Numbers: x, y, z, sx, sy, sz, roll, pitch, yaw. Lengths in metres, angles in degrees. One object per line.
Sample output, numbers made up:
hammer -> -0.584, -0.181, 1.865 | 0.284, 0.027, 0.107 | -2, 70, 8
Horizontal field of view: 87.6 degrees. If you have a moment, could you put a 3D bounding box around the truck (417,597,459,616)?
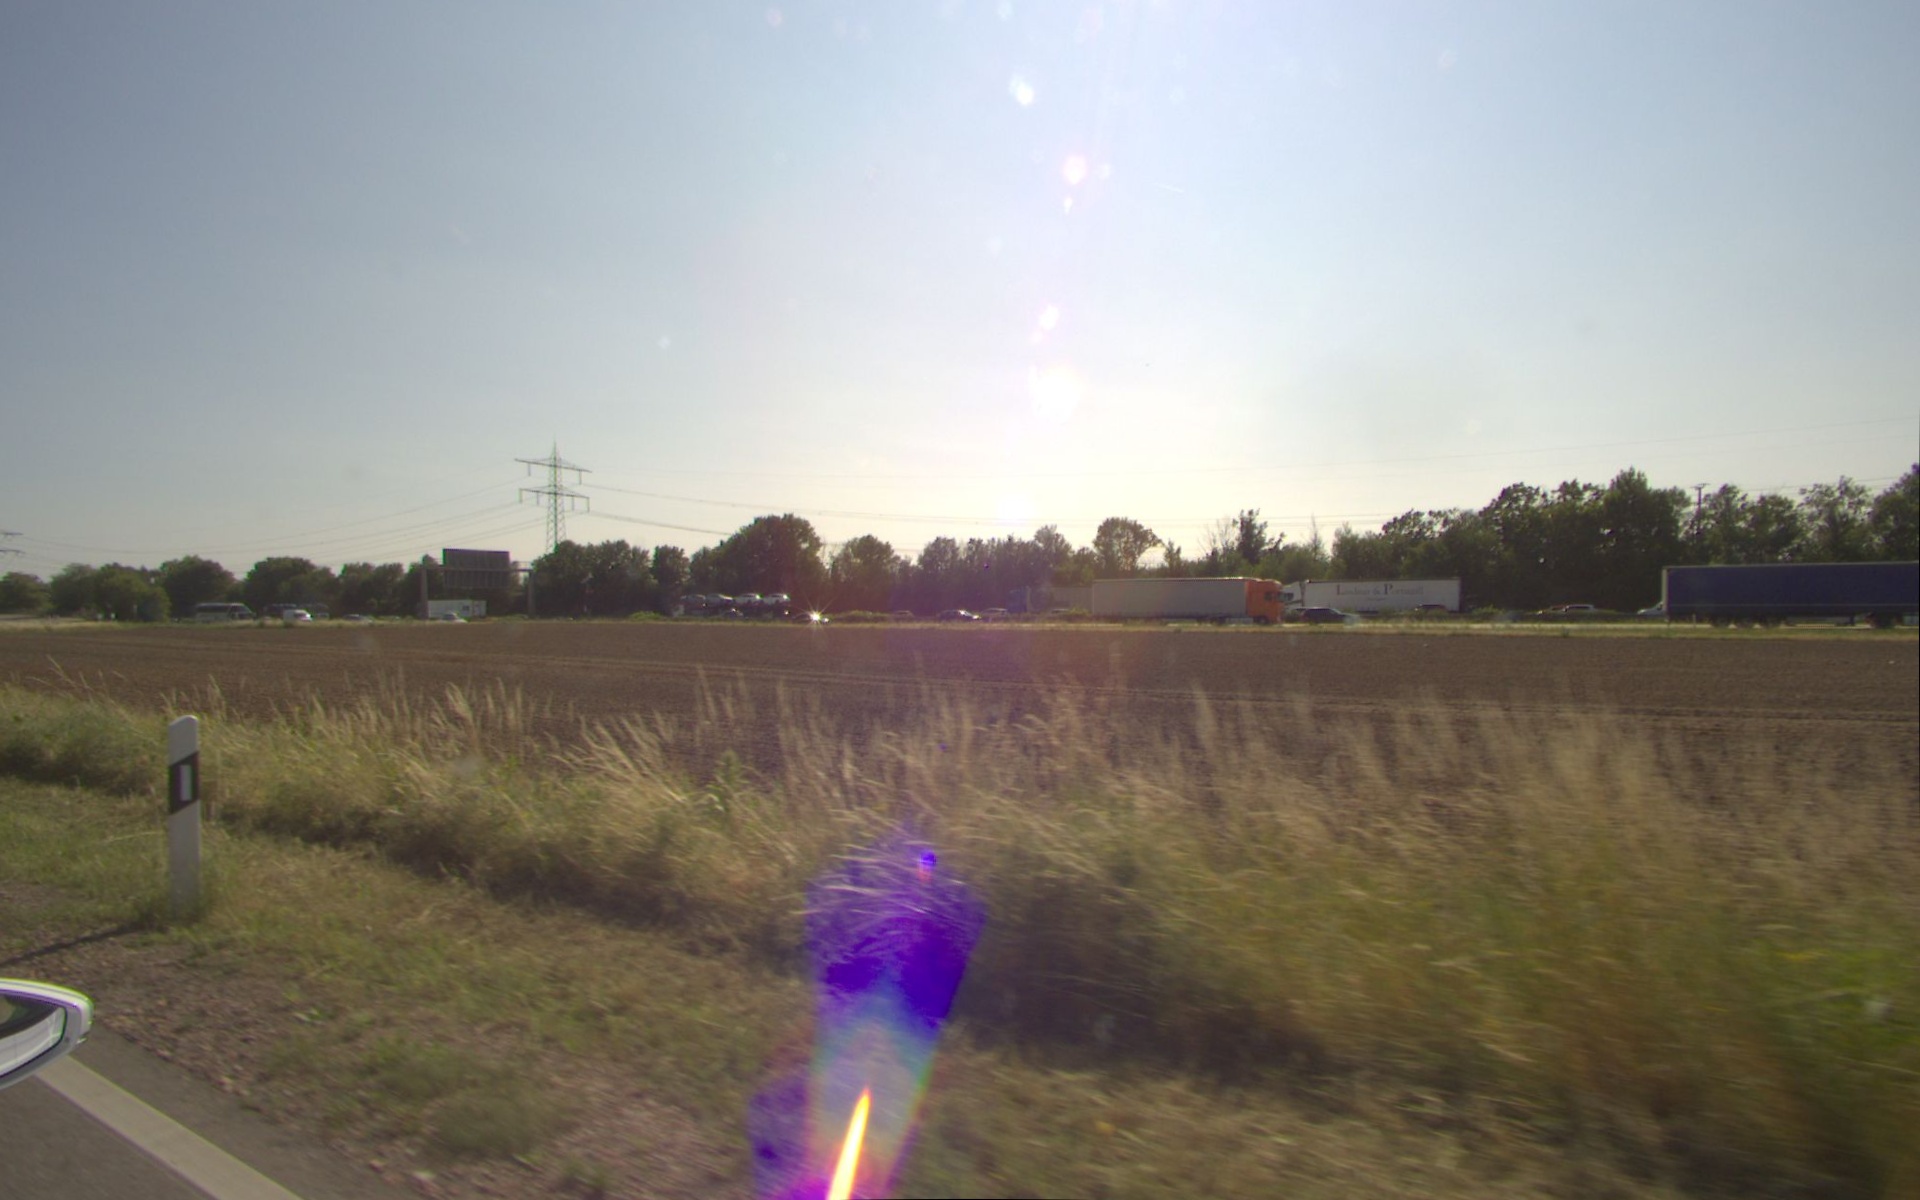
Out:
truck -> -90.602, 1.149, 173.755 | 6.875, 3.310, 3.279 | -1, 0, 30

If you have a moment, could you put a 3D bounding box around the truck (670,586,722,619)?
truck -> -37.205, 0.357, 141.237 | 6.605, 4.512, 3.416 | -1, 0, 30

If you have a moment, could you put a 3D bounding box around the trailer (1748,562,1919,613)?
trailer -> 68.791, -0.883, 76.207 | 13.582, 3.782, 2.940 | 0, 0, 32

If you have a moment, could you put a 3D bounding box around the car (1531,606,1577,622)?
car -> 48.692, 1.168, 82.131 | 3.242, 1.300, 1.339 | -1, -2, 30

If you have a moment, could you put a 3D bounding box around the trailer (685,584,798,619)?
trailer -> -30.117, 0.255, 137.174 | 17.300, 4.512, 3.416 | -1, 0, 30

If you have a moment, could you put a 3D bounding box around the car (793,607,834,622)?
car -> -15.585, 1.569, 106.559 | 4.136, 1.563, 1.700 | -1, -2, 32

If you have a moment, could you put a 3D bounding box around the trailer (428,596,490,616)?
trailer -> -85.477, 1.077, 170.754 | 12.272, 3.310, 3.279 | -1, 0, 31

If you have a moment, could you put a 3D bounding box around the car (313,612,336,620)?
car -> -114.106, 2.925, 179.883 | 4.185, 1.403, 1.848 | 0, -1, 31

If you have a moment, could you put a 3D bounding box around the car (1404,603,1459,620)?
car -> 40.891, 0.982, 86.919 | 4.185, 1.403, 1.848 | 0, -1, 31

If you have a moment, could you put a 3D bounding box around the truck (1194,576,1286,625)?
truck -> 23.322, 0.064, 83.352 | 6.848, 3.899, 3.099 | 0, -1, 31

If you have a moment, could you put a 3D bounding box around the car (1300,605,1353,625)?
car -> 30.436, 1.241, 83.105 | 3.838, 1.595, 1.991 | -1, -2, 32

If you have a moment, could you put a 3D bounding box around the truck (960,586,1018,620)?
truck -> 3.400, 0.342, 116.158 | 6.000, 3.783, 3.065 | 1, 0, 33

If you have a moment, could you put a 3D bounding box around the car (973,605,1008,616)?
car -> 3.271, 1.127, 108.083 | 3.530, 1.166, 1.392 | 0, -1, 32

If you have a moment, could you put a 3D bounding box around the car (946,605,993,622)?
car -> 0.942, 1.363, 101.328 | 4.411, 1.633, 1.902 | -1, -2, 33

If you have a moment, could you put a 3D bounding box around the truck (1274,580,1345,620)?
truck -> 33.995, 0.037, 97.550 | 6.030, 3.782, 3.066 | 0, 0, 33

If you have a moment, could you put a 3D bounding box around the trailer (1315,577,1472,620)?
trailer -> 40.301, -0.037, 93.475 | 13.176, 3.782, 3.065 | -1, 0, 33

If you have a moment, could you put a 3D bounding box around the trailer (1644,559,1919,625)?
trailer -> 52.870, -0.388, 64.397 | 14.376, 3.851, 3.068 | -1, -1, 30

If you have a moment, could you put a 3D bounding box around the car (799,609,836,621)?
car -> -17.202, 1.771, 121.009 | 4.185, 1.403, 1.848 | 0, -1, 31

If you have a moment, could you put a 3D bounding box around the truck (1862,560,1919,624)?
truck -> 58.889, -0.466, 60.836 | 5.528, 3.851, 3.068 | -1, -1, 30

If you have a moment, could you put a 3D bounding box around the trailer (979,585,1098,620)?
trailer -> 8.702, 0.273, 112.726 | 13.435, 3.783, 3.065 | 1, 0, 33

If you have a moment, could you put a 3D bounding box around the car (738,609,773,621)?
car -> -26.080, 1.909, 127.516 | 4.185, 1.403, 1.848 | 0, -1, 31

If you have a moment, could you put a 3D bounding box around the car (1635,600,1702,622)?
car -> 54.820, 0.871, 77.557 | 4.034, 1.659, 1.701 | -1, -2, 31

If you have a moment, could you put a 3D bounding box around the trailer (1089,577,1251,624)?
trailer -> 17.995, 0.110, 86.551 | 13.516, 3.899, 3.099 | 0, -1, 31

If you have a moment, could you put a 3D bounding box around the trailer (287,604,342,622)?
trailer -> -124.113, 2.501, 192.375 | 13.252, 3.310, 3.279 | 0, 0, 31
